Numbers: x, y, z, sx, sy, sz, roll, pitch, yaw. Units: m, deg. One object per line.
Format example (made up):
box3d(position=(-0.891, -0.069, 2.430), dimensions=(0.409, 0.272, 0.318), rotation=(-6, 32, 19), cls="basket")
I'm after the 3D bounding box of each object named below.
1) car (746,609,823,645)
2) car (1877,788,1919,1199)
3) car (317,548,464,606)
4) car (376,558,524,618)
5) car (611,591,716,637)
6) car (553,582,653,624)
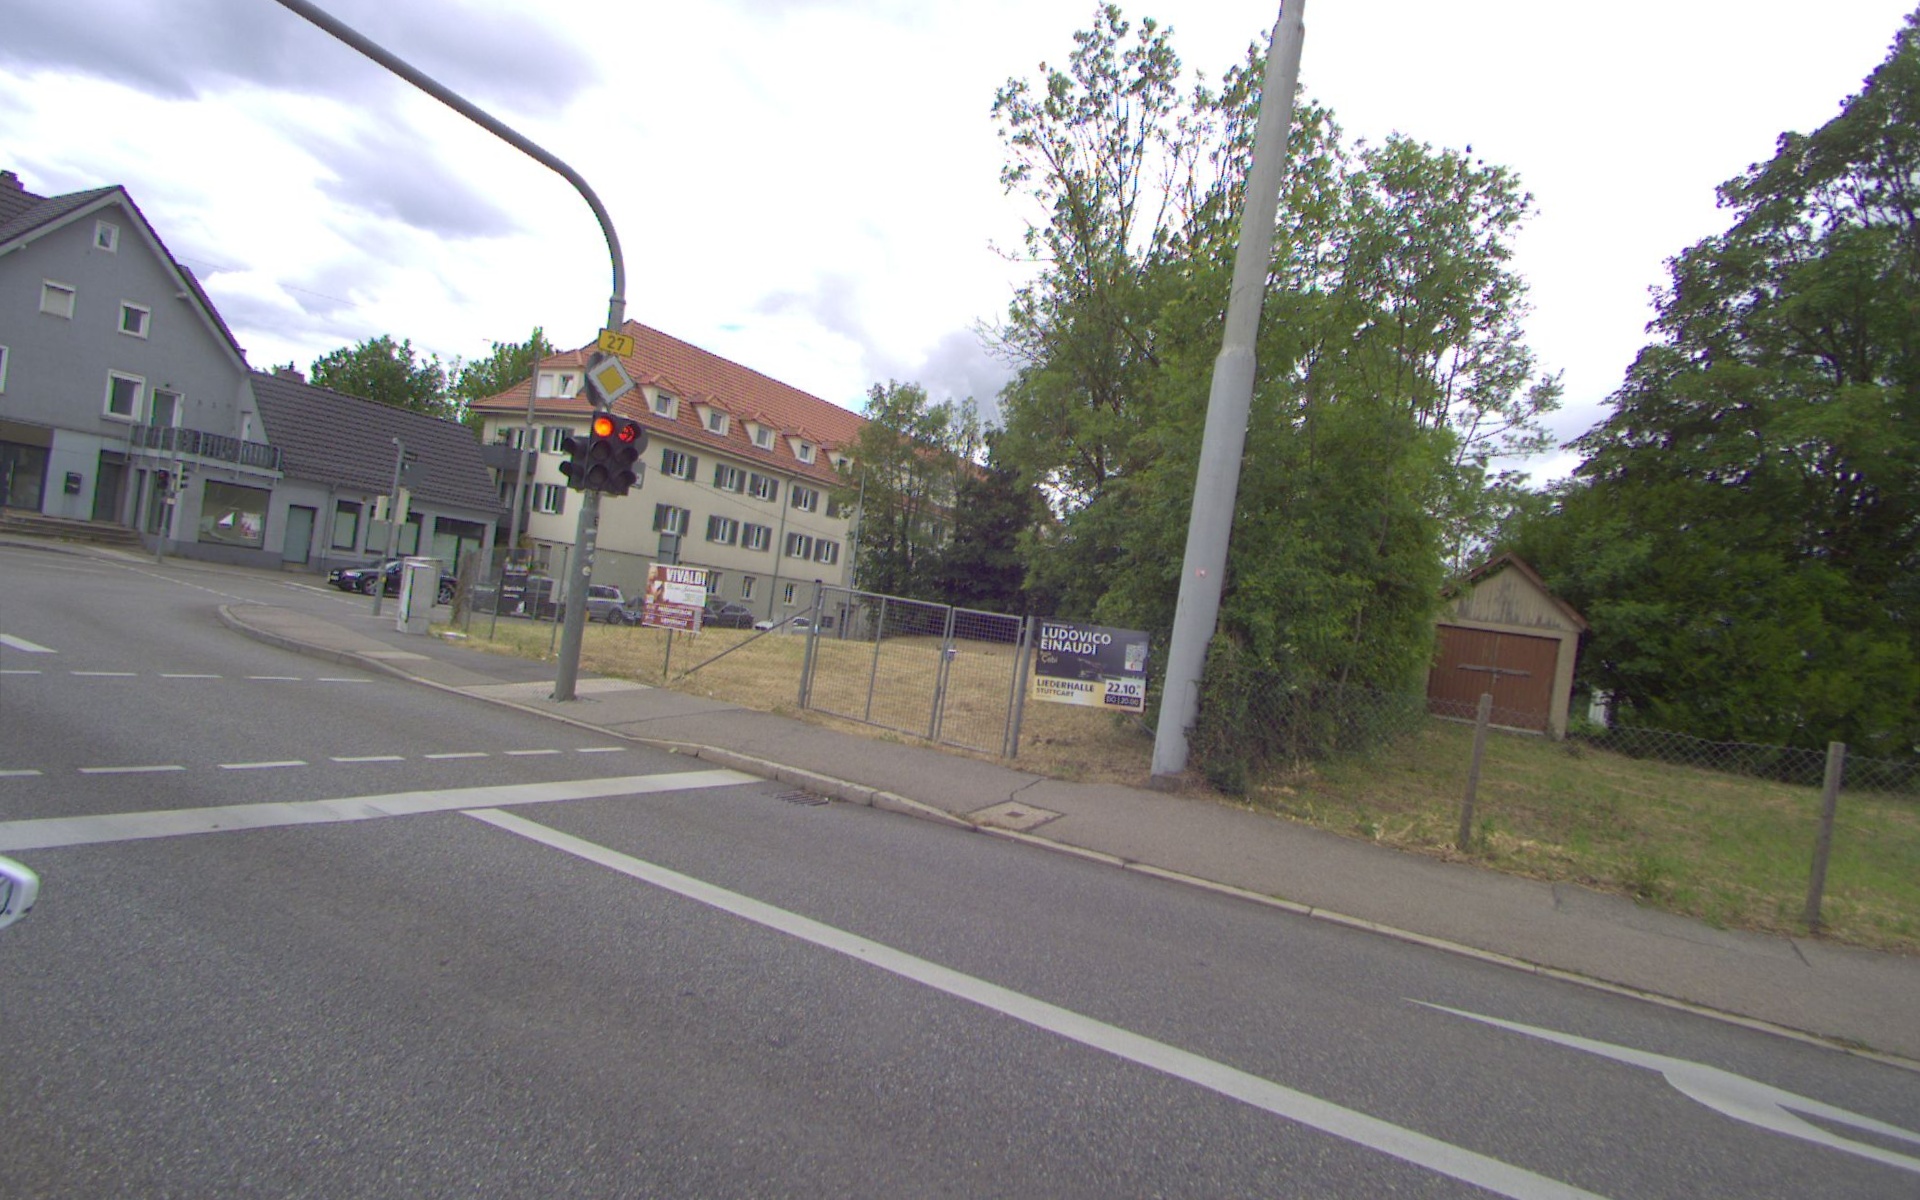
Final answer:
box3d(position=(-9.426, 1.494, 54.312), dimensions=(1.769, 1.386, 4.099), rotation=(7, -3, 30), cls="car")
box3d(position=(3.847, 1.224, 0.482), dimensions=(4.694, 1.522, 1.872), rotation=(6, -3, 32), cls="car")
box3d(position=(-20.178, -0.785, 35.805), dimensions=(1.769, 1.386, 4.099), rotation=(7, -3, 30), cls="car")
box3d(position=(-17.258, -0.383, 34.232), dimensions=(1.769, 1.386, 4.099), rotation=(7, -3, 30), cls="car")
box3d(position=(-12.578, 0.634, 42.942), dimensions=(1.769, 1.386, 4.099), rotation=(7, -3, 30), cls="car")
box3d(position=(-16.585, 0.166, 46.941), dimensions=(1.769, 1.386, 4.099), rotation=(7, -3, 30), cls="car")
